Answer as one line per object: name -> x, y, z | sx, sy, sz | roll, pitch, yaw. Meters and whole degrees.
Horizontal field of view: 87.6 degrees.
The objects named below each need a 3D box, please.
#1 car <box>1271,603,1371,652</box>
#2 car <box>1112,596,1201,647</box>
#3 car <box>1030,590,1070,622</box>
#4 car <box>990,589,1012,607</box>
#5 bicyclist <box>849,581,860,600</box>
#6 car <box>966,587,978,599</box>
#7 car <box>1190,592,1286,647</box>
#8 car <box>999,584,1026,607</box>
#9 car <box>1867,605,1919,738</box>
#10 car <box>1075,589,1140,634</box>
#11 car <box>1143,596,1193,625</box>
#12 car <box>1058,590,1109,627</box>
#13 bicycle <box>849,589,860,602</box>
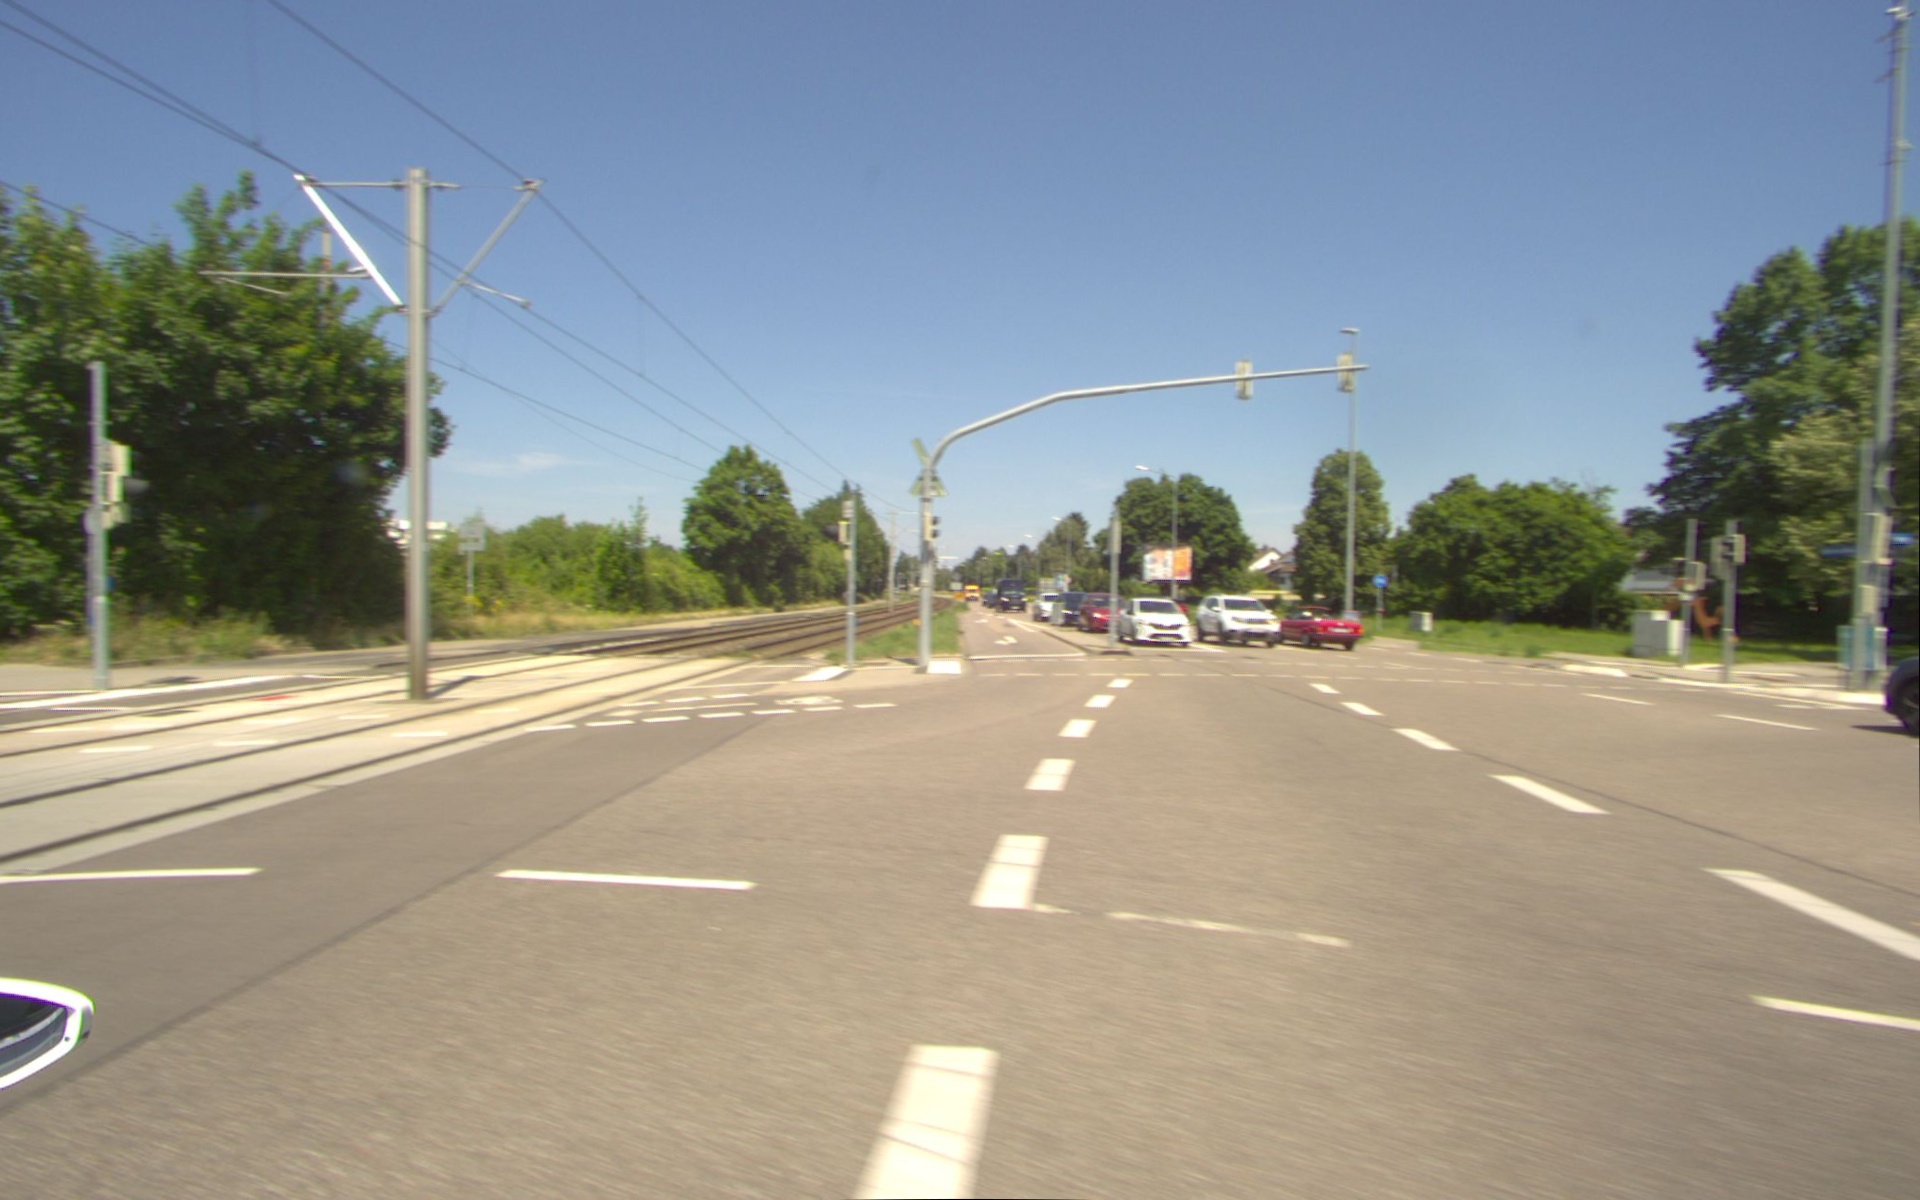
car -> 11.999, 0.864, 33.571 | 1.732, 1.366, 4.310 | 3, 1, 0
car -> 6.070, 0.616, 31.451 | 1.839, 1.407, 4.410 | 3, 1, 0
car -> 4.916, 0.284, 55.098 | 1.697, 1.597, 4.410 | 3, 1, 0
car -> 3.967, -0.212, 97.119 | 1.839, 1.597, 4.410 | 3, 1, 0
bicyclist -> -11.219, -1.026, 106.394 | 1.054, 2.041, 1.184 | -1, 1, -7
car -> 1.851, -1.110, 154.858 | 1.839, 1.708, 4.410 | 3, 1, 0
car -> 9.079, 0.596, 33.087 | 1.839, 1.597, 4.410 | 3, 1, 0
car -> 4.039, -0.362, 77.513 | 1.839, 1.597, 4.410 | 3, 1, 0
car -> 13.047, 0.964, 11.177 | 1.698, 1.680, 4.407 | 2, 1, -1
car -> 5.826, 0.412, 40.008 | 1.839, 1.597, 4.410 | 3, 1, 0
car -> 11.509, 0.568, 55.693 | 1.813, 1.479, 4.410 | 1, 1, 0
car -> 5.811, 0.357, 47.580 | 1.839, 1.597, 4.410 | 3, 1, 0
bicycle -> -11.226, -0.514, 106.516 | 1.043, 1.364, 2.694 | -2, 1, -7
